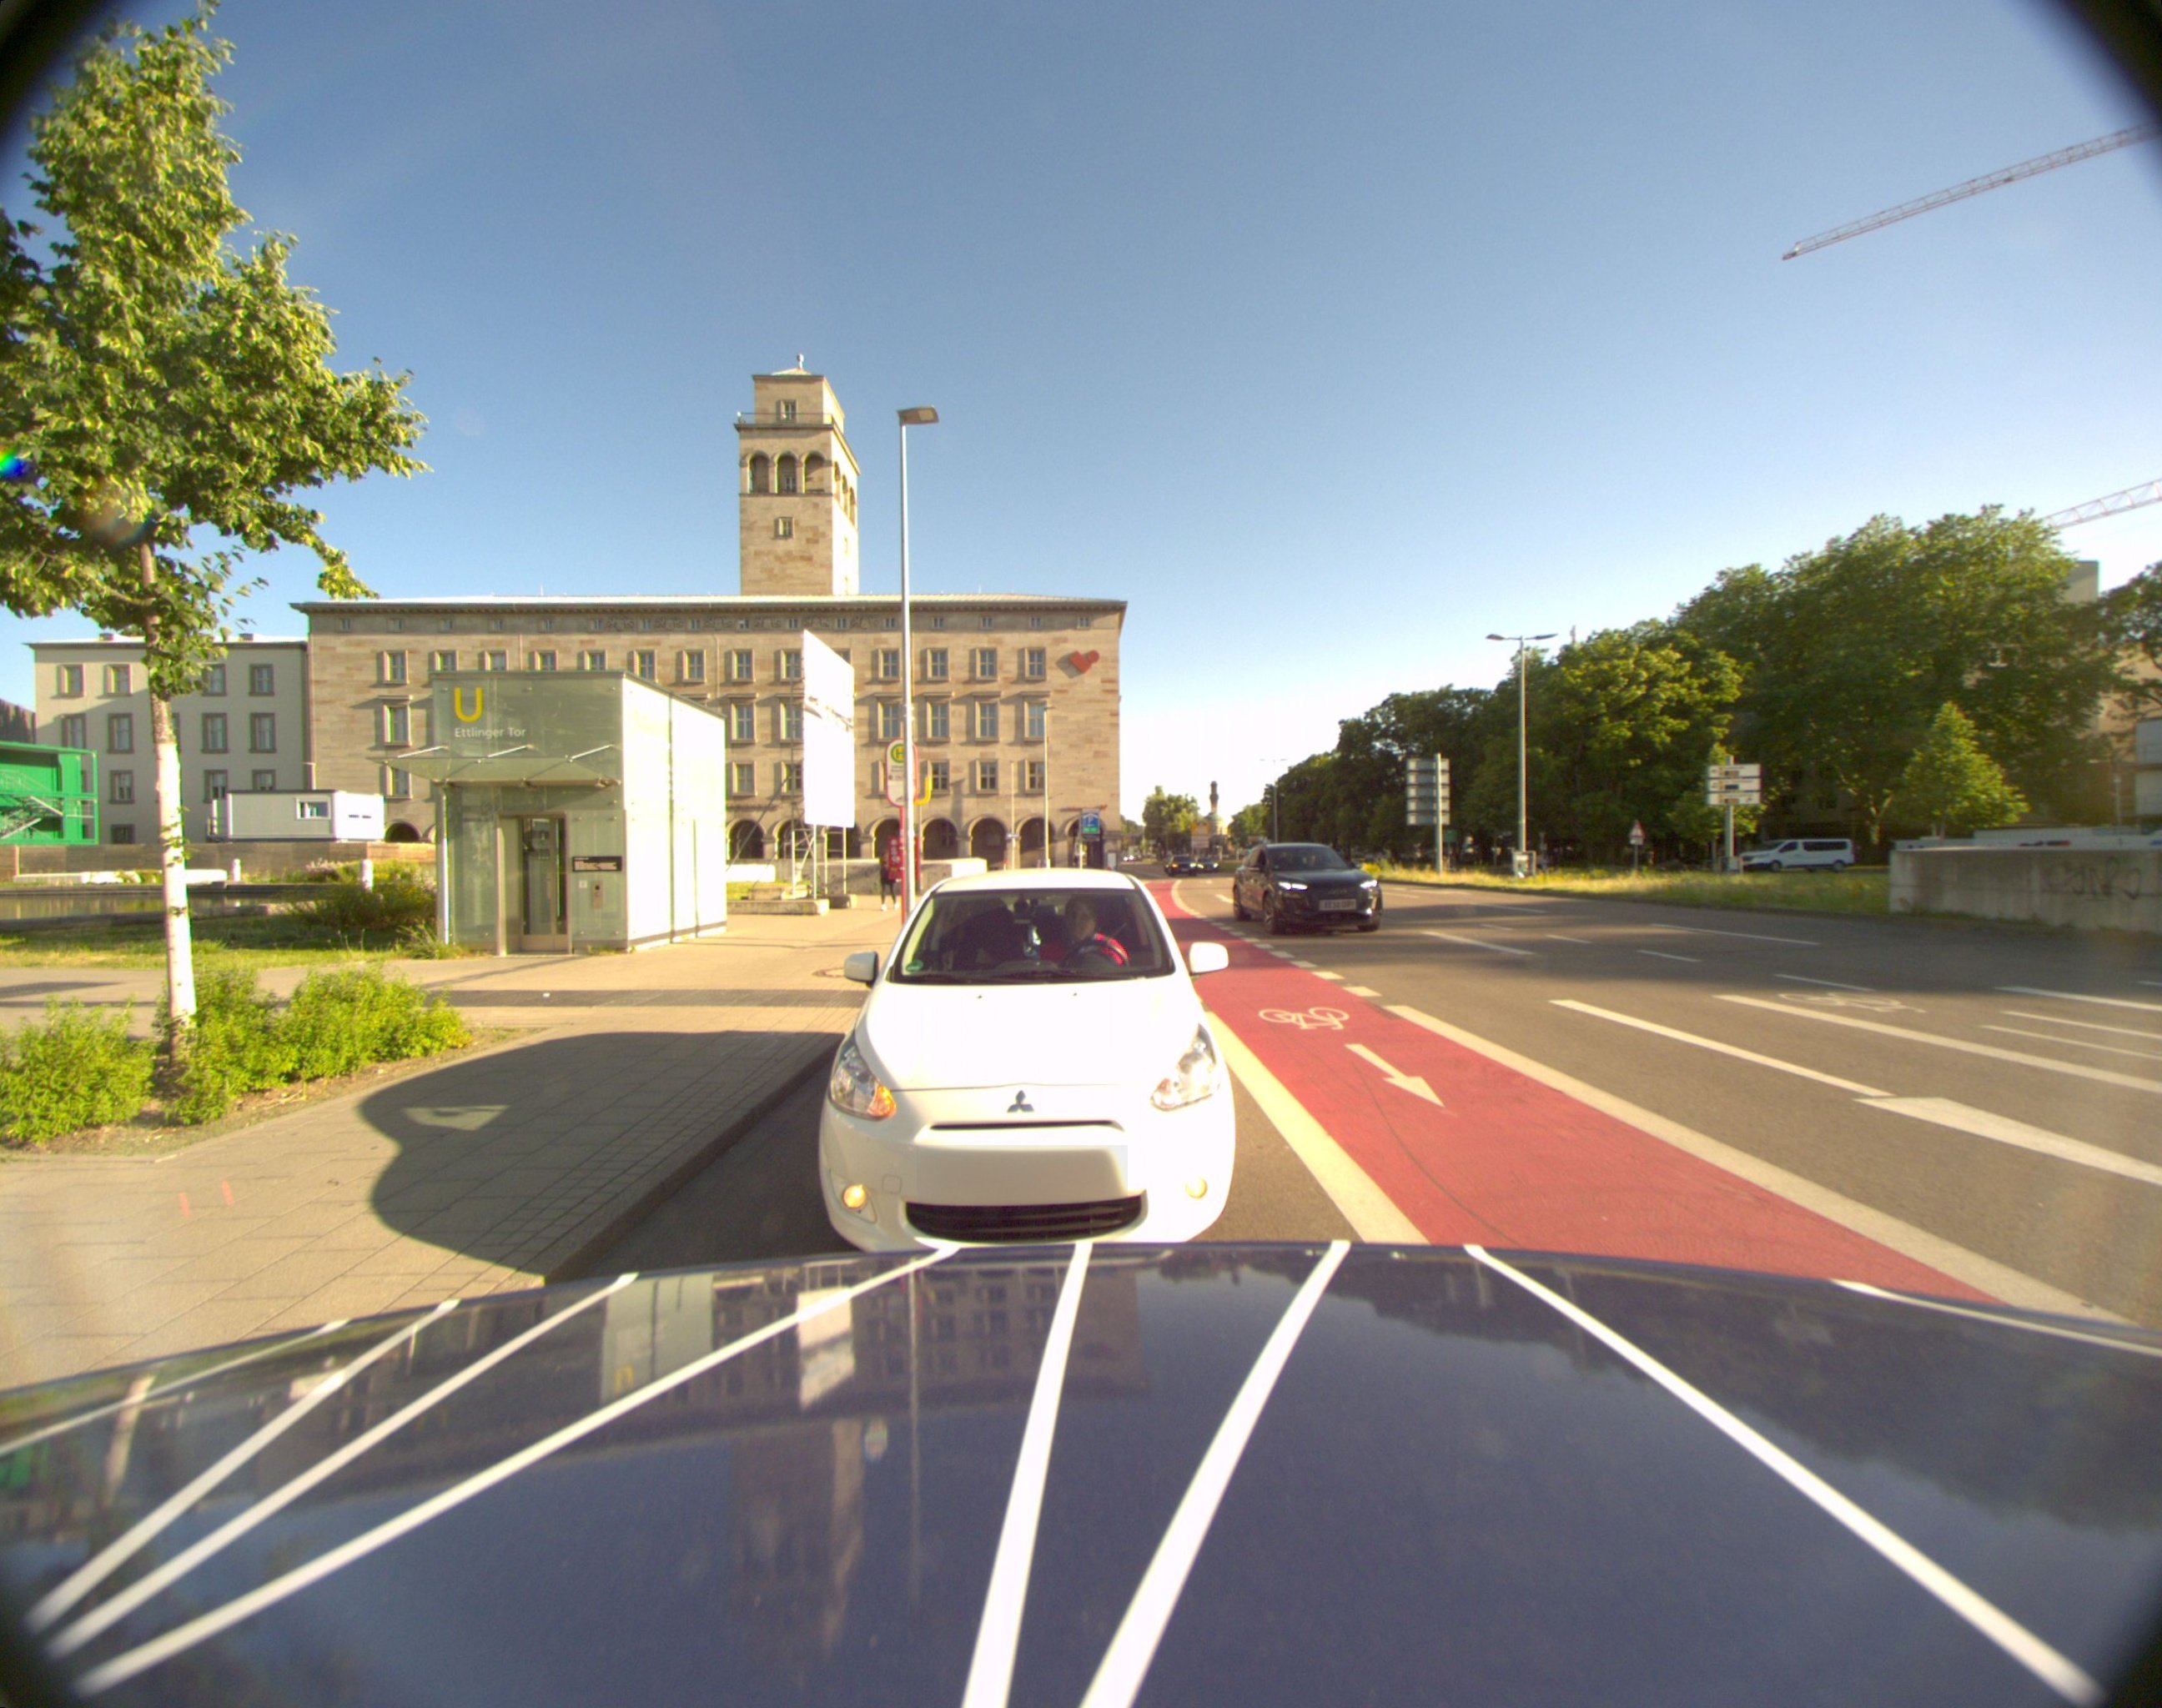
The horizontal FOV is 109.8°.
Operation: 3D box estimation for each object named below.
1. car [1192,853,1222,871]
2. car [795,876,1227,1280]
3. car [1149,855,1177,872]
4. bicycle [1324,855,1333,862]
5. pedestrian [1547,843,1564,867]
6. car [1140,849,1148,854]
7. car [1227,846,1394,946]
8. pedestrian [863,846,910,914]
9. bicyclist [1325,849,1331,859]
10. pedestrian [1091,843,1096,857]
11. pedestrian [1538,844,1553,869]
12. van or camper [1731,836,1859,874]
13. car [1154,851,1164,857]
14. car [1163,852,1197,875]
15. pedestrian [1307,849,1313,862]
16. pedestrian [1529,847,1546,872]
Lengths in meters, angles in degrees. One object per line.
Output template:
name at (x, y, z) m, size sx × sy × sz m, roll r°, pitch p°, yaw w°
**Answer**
car at (11.276, 0.689, 68.152) m, size 1.998 × 1.398 × 4.488 m, roll -2°, pitch 0°, yaw 1°
car at (-0.274, 0.957, 4.992) m, size 1.678 × 1.440 × 3.889 m, roll -2°, pitch 0°, yaw 0°
car at (7.510, 0.843, 69.954) m, size 1.998 × 1.398 × 4.488 m, roll -2°, pitch 0°, yaw 0°
bicycle at (32.429, 0.560, 99.734) m, size 0.610 × 0.838 × 1.745 m, roll -1°, pitch 0°, yaw -1°
pedestrian at (33.662, 0.071, 53.916) m, size 0.707 × 1.715 × 0.762 m, roll -1°, pitch 1°, yaw -3°
car at (17.620, -0.675, 212.864) m, size 1.873 × 1.390 × 3.999 m, roll -1°, pitch 0°, yaw -2°
car at (4.252, 0.688, 14.932) m, size 1.937 × 1.634 × 4.616 m, roll -1°, pitch 0°, yaw 1°
pedestrian at (-5.331, 0.693, 20.894) m, size 0.942 × 1.776 × 1.072 m, roll 2°, pitch 1°, yaw 1°
bicyclist at (32.424, 0.039, 99.725) m, size 0.610 × 1.274 × 0.715 m, roll -1°, pitch 1°, yaw -1°
pedestrian at (1.623, -0.530, 100.396) m, size 0.704 × 1.843 × 0.828 m, roll -1°, pitch 1°, yaw 0°
pedestrian at (32.904, 0.160, 53.831) m, size 0.665 × 1.715 × 0.762 m, roll -1°, pitch 1°, yaw 1°
van or camper at (42.301, 0.058, 45.087) m, size 5.649 × 2.002 × 1.948 m, roll -2°, pitch 1°, yaw 2°
car at (18.721, 0.080, 182.255) m, size 1.872 × 1.390 × 4.000 m, roll -1°, pitch 0°, yaw 0°
car at (7.737, 0.699, 59.595) m, size 1.999 × 1.709 × 4.325 m, roll -1°, pitch 0°, yaw -2°
pedestrian at (32.395, 0.188, 107.500) m, size 0.628 × 1.837 × 0.925 m, roll -1°, pitch 1°, yaw -1°
pedestrian at (32.262, 0.388, 53.693) m, size 0.707 × 1.715 × 0.762 m, roll -1°, pitch 1°, yaw 1°
